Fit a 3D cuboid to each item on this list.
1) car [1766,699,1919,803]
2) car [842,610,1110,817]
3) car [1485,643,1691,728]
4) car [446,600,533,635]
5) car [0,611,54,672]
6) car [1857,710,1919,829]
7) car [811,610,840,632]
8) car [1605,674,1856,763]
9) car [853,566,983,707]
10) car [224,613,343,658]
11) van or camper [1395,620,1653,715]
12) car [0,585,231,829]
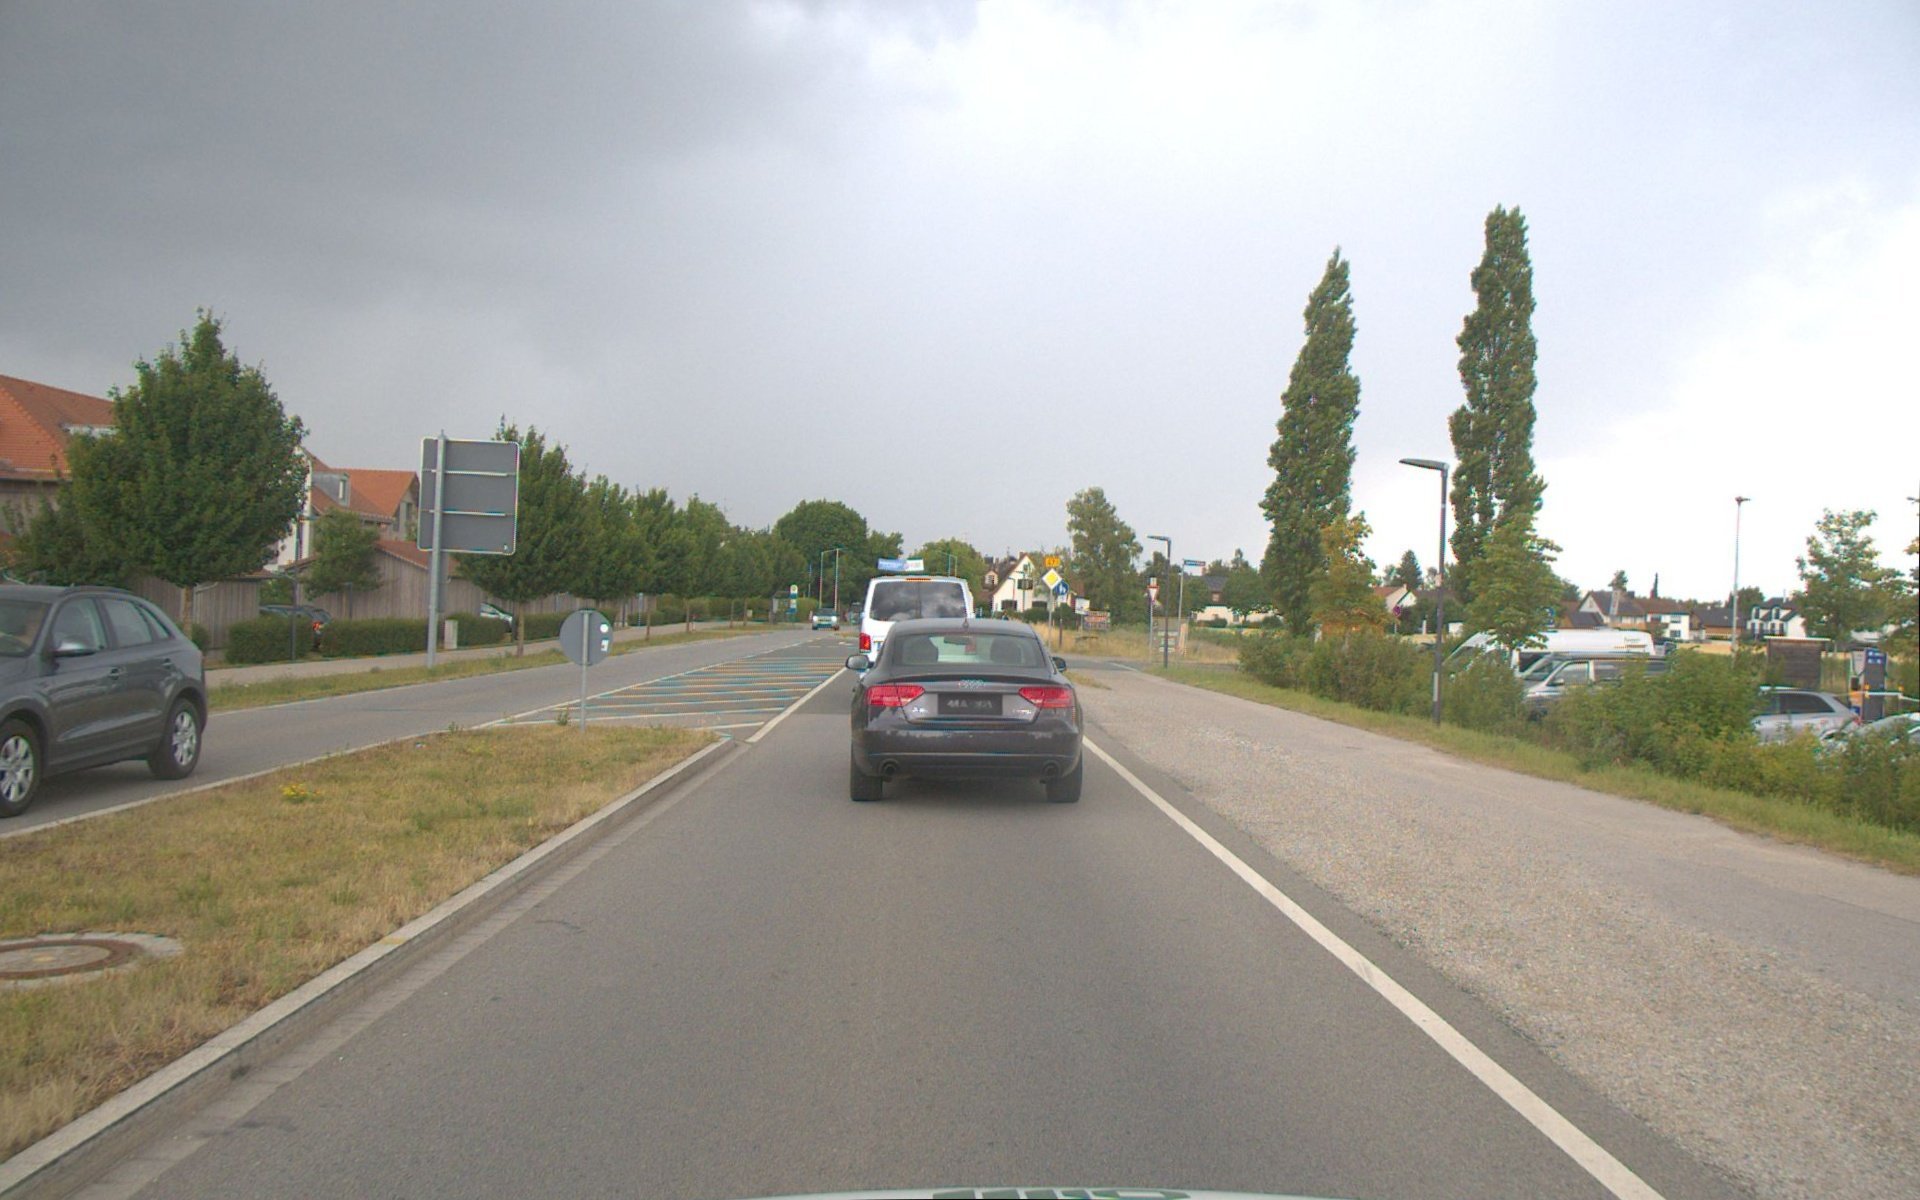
[{"bbox_3d":[15.851,2.484,27.566,4.064,1.565,1.675,0,0,-4],"label":"car"},{"bbox_3d":[-0.034,0.810,13.906,1.790,1.413,4.382,0,0,-6],"label":"car"},{"bbox_3d":[15.914,2.140,42.063,4.502,2.049,1.999,0,0,-4],"label":"car"},{"bbox_3d":[-24.751,0.918,87.039,3.906,1.583,2.000,3,0,0],"label":"car"},{"bbox_3d":[-25.414,1.053,42.436,3.443,1.515,1.563,0,0,-2],"label":"car"},{"bbox_3d":[15.225,2.422,23.897,3.681,1.565,1.675,0,0,-4],"label":"car"},{"bbox_3d":[-9.103,1.399,112.001,1.734,1.469,3.999,0,0,-1],"label":"car"},{"bbox_3d":[15.365,2.351,33.133,4.064,1.626,2.079,0,0,-4],"label":"car"},{"bbox_3d":[-0.708,0.533,25.847,1.789,1.947,3.998,3,0,-3],"label":"car"},{"bbox_3d":[-23.389,1.204,57.242,3.443,1.515,1.563,0,0,-2],"label":"car"},{"bbox_3d":[15.385,1.815,45.340,6.338,2.507,2.280,0,0,-4],"label":"van or camper"},{"bbox_3d":[-7.263,0.705,12.399,1.788,1.610,4.215,0,0,-1],"label":"car"}]
